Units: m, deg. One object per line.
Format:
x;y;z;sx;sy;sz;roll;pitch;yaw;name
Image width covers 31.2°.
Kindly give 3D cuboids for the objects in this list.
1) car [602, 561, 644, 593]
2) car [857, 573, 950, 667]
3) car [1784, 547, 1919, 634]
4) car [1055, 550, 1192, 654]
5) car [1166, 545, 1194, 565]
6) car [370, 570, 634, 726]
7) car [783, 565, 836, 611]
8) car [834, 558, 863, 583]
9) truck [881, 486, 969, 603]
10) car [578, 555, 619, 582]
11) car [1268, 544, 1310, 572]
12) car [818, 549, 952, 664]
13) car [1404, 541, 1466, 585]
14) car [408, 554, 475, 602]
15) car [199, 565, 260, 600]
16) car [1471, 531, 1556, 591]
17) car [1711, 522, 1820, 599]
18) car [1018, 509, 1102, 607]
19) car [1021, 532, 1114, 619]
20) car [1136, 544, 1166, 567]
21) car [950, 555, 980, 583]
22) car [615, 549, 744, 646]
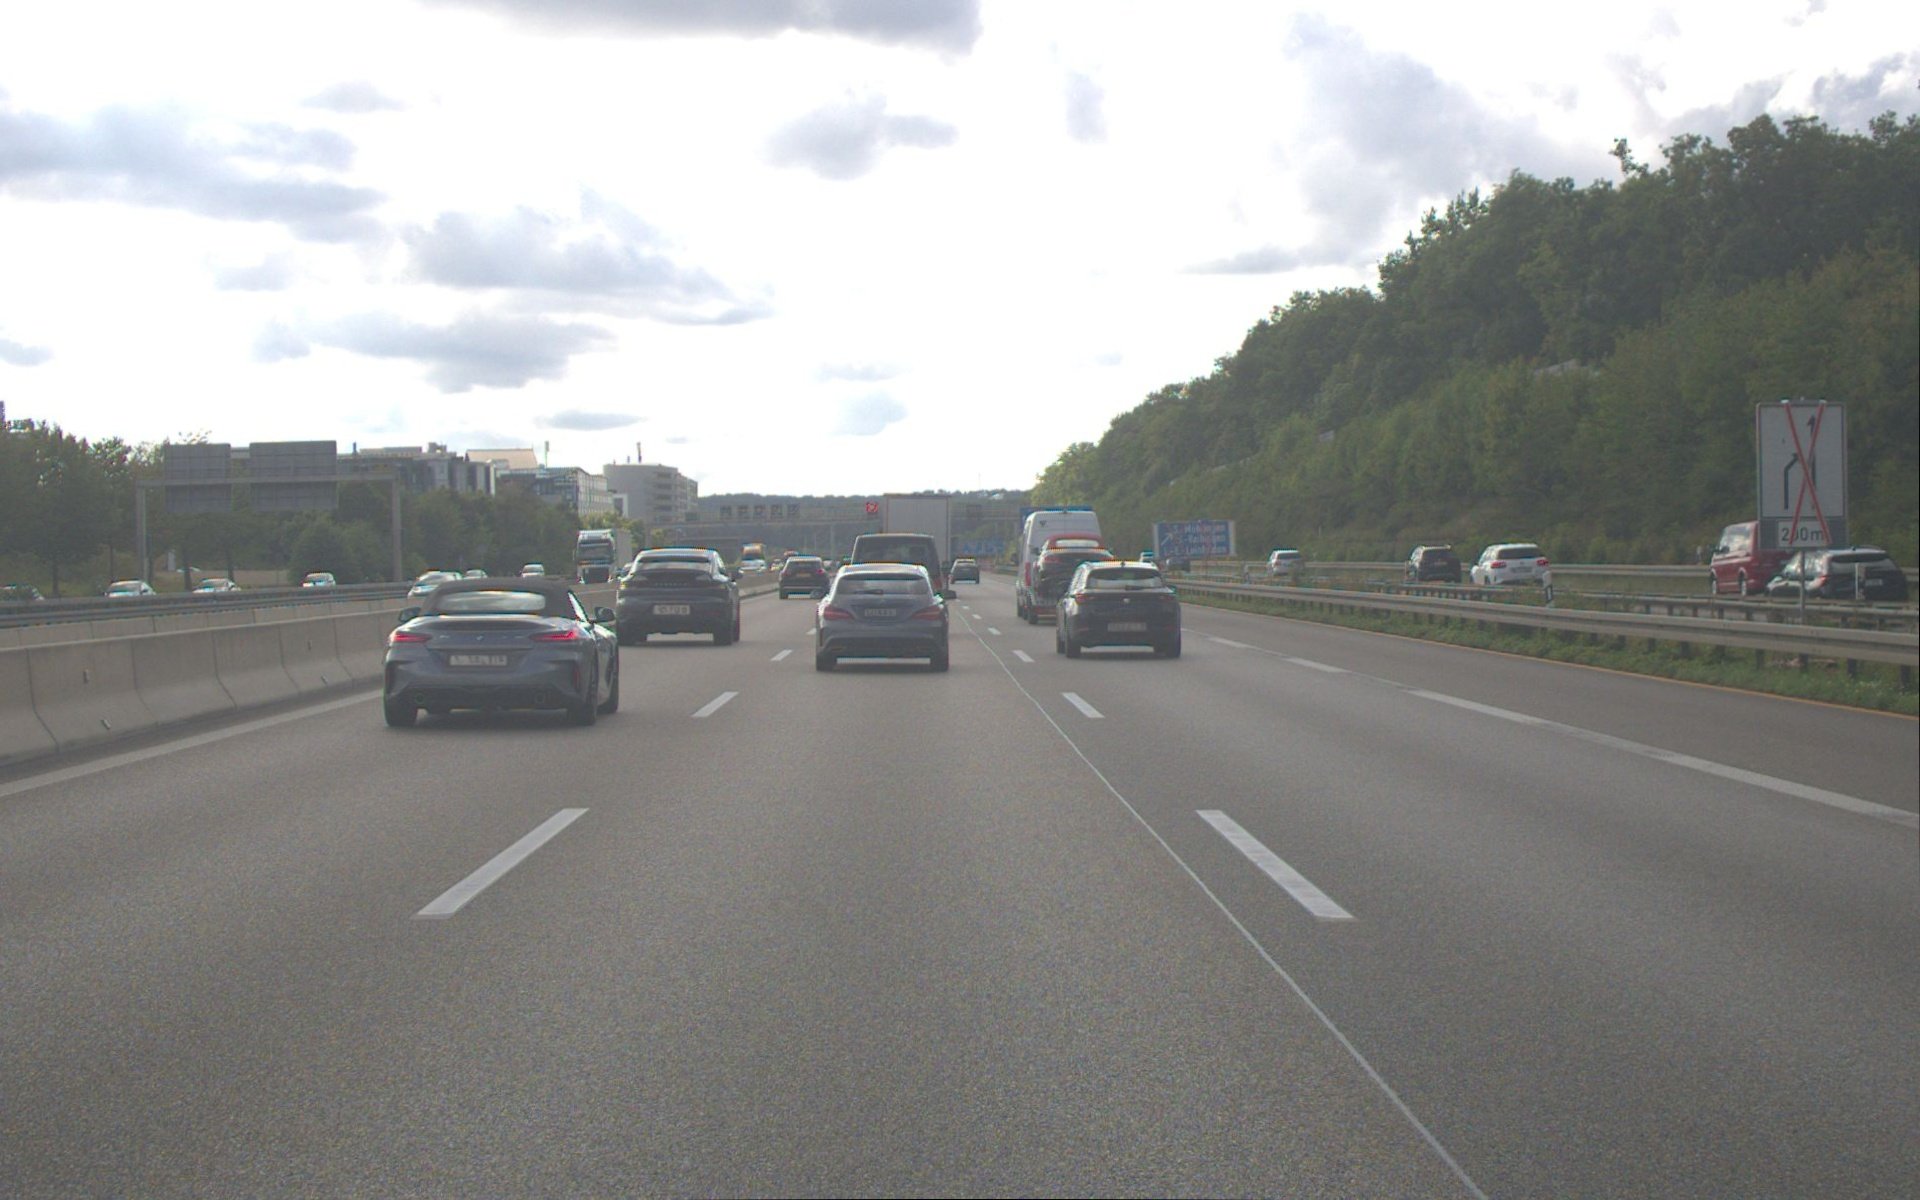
-16.405;-1.141;167.558;1.666;1.550;4.000;0;1;-1;car
-1.089;0.355;66.400;1.720;1.718;4.392;0;1;-1;car
16.491;-0.190;63.068;1.595;1.540;4.191;0;1;-2;car
2.461;-0.006;52.741;1.832;1.516;4.225;0;1;-1;car
16.406;-3.371;256.516;1.752;1.512;4.191;0;1;-2;car
-4.169;0.393;32.023;1.873;1.298;4.943;0;1;-1;car
-5.701;-0.482;130.321;1.873;1.692;4.072;0;1;-1;car
-8.130;-2.132;251.154;1.993;1.809;4.567;0;1;-1;car
-1.394;-2.154;134.132;3.263;4.360;11.027;0;1;-1;truck
-23.862;-2.068;227.053;2.306;1.771;5.065;0;1;-2;car
17.983;-2.315;188.004;1.752;1.512;4.191;0;1;-2;car
-1.003;0.056;46.663;1.720;1.474;4.392;0;1;-1;car
18.572;-1.437;134.543;1.752;1.689;4.190;0;1;-1;car
-18.263;-0.783;121.223;1.779;1.640;4.072;0;1;-1;car
-35.640;-0.876;167.757;1.993;1.694;5.136;0;1;-1;car
16.086;-1.134;100.089;1.752;1.689;4.190;0;1;-1;car
19.461;-0.956;83.200;1.595;1.798;3.825;0;1;-2;car
2.437;-1.054;84.780;1.873;2.349;4.282;0;1;-1;car
2.408;-0.581;77.736;1.913;1.912;4.031;0;1;-1;car
13.216;-3.102;238.382;1.729;1.528;4.453;-1;1;-1;car
0.306;-1.932;212.495;1.752;1.689;4.190;0;1;-1;car
-4.927;-0.086;61.004;1.912;1.630;5.500;0;1;-1;car
